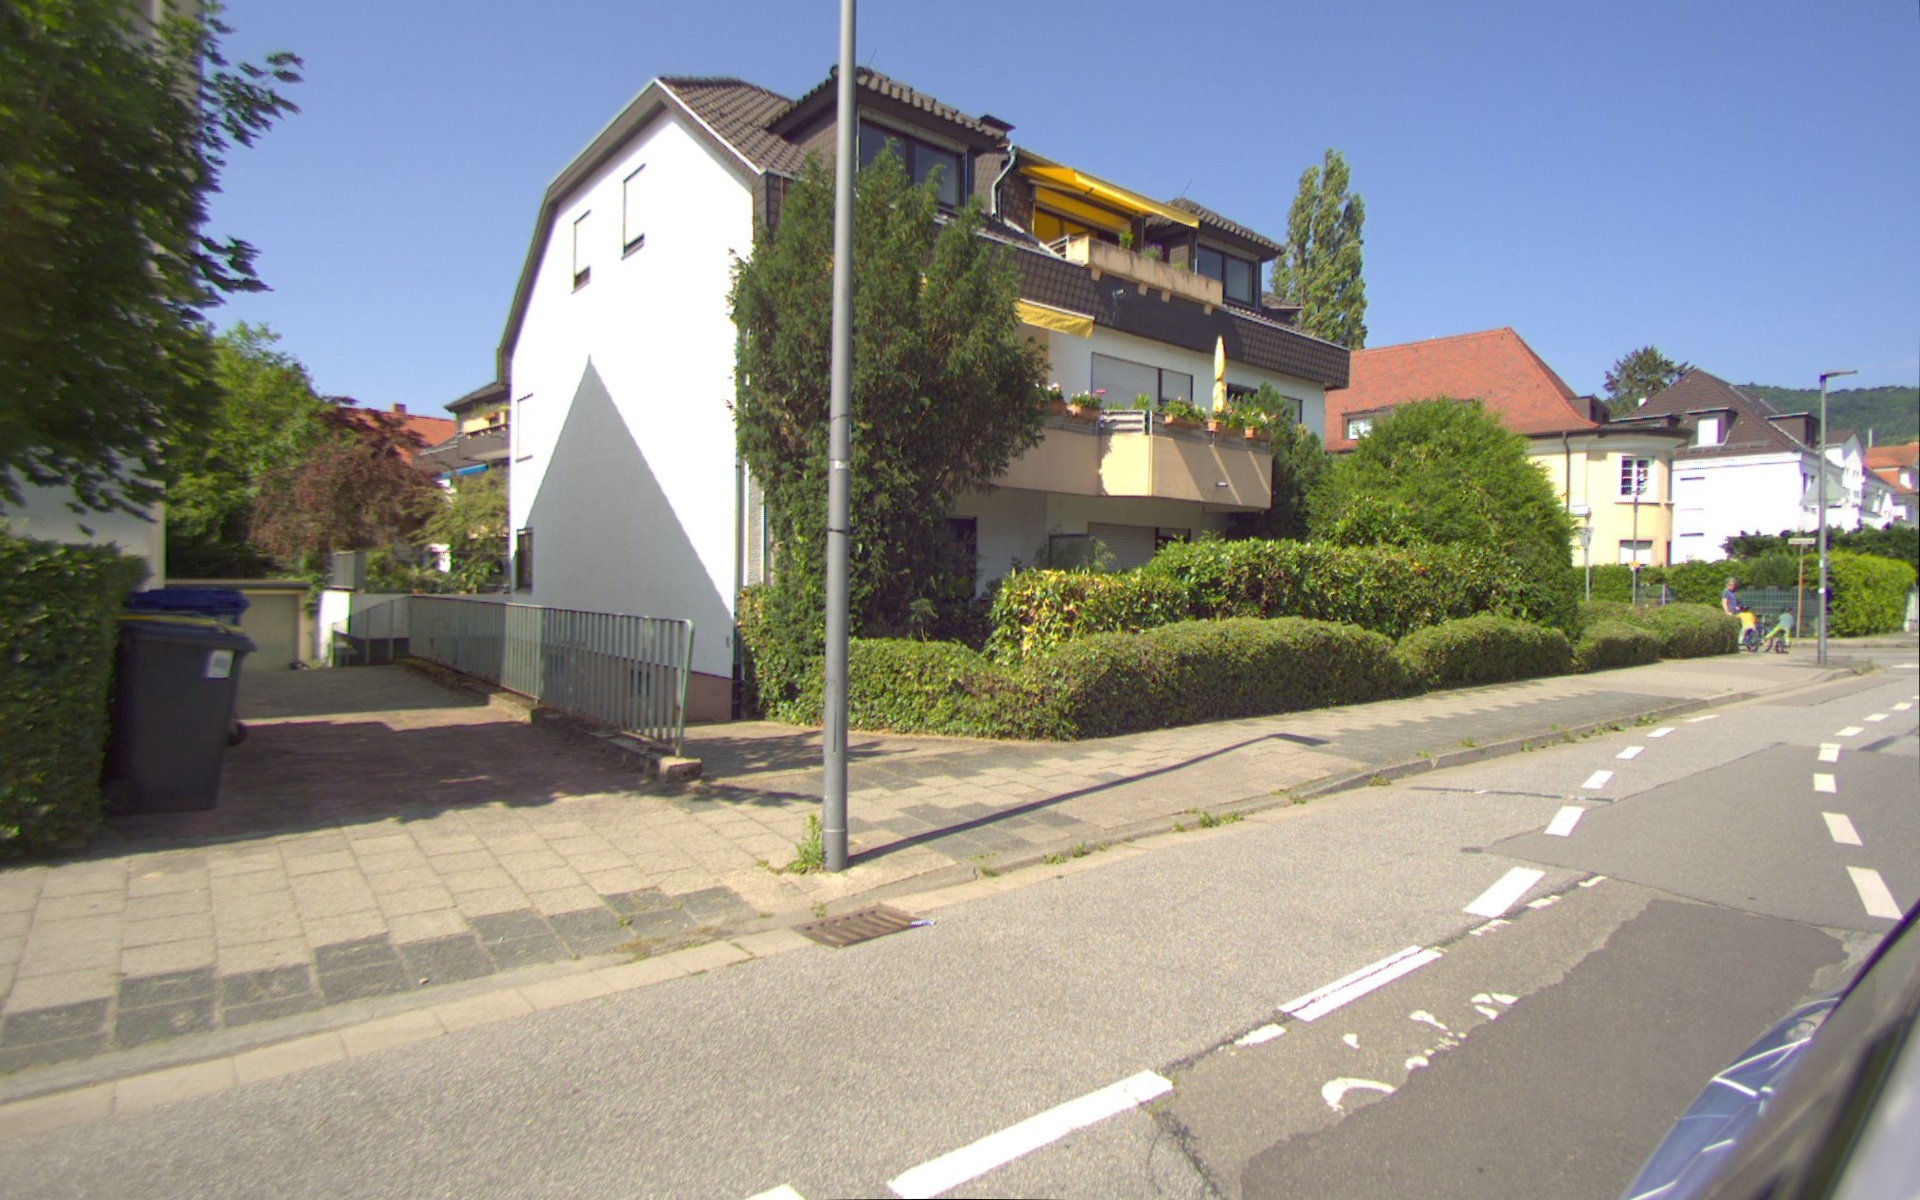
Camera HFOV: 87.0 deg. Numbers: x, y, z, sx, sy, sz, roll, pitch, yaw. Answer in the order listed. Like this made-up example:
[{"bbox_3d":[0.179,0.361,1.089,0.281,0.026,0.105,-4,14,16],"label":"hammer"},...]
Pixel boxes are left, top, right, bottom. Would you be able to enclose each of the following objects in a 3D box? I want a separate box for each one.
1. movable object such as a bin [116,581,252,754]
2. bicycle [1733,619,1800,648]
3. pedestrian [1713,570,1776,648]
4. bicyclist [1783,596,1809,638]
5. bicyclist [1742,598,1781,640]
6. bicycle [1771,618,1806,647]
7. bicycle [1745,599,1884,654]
[{"bbox_3d":[-6.074,0.485,7.919,0.780,1.259,0.747,-1,1,-43],"label":"movable object such as a bin"},{"bbox_3d":[18.640,0.763,23.415,0.394,0.607,1.153,-1,1,-23],"label":"bicycle"},{"bbox_3d":[19.741,0.203,25.492,0.890,1.896,1.182,0,1,19],"label":"pedestrian"},{"bbox_3d":[19.425,0.381,23.517,0.400,0.941,0.649,0,1,35],"label":"bicyclist"},{"bbox_3d":[18.596,0.438,23.482,0.391,0.945,0.610,-1,1,-23],"label":"bicyclist"},{"bbox_3d":[19.417,0.756,23.736,0.398,0.607,1.162,0,1,27],"label":"bicycle"},{"bbox_3d":[20.528,0.600,24.413,0.846,1.173,2.715,-1,1,-6],"label":"bicycle"}]
